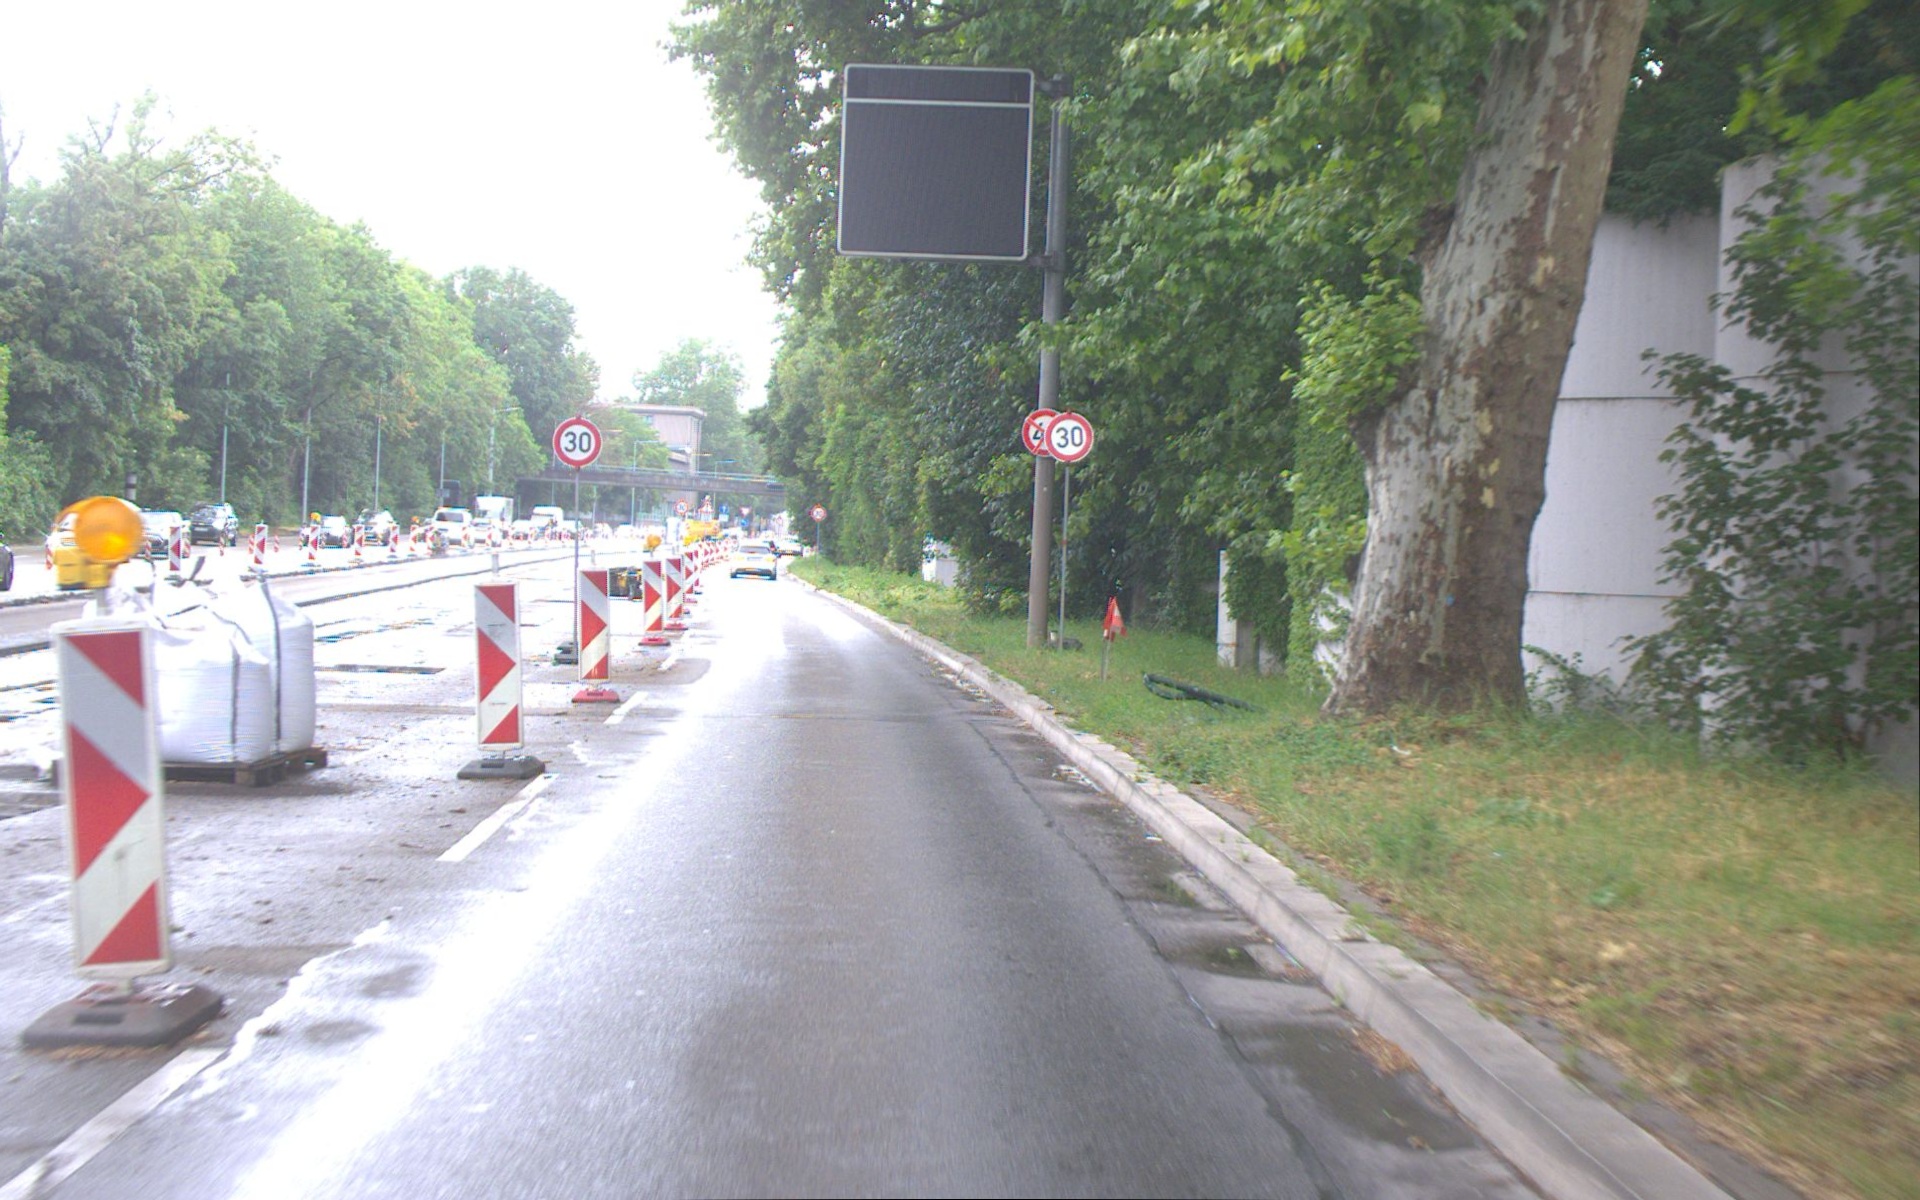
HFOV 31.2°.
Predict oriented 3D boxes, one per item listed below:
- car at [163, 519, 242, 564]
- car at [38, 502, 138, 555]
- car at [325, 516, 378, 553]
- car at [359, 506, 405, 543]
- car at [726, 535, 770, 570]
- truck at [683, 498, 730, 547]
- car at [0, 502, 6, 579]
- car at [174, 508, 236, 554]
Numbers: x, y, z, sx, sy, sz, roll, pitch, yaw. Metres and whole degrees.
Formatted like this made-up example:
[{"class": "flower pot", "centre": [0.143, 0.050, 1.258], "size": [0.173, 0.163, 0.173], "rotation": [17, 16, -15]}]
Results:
[{"class": "car", "centre": [-23.861, -1.858, 108.383], "size": [1.817, 1.351, 4.205], "rotation": [1, 1, -4]}, {"class": "car", "centre": [-23.260, -1.909, 91.811], "size": [1.817, 1.351, 4.391], "rotation": [1, 1, -4]}, {"class": "car", "centre": [-26.420, -2.855, 149.345], "size": [1.760, 1.478, 4.901], "rotation": [2, 1, -5]}, {"class": "car", "centre": [-28.378, -3.683, 168.808], "size": [1.734, 1.716, 4.495], "rotation": [3, 1, -4]}, {"class": "car", "centre": [-8.296, -1.879, 134.681], "size": [1.697, 1.331, 3.491], "rotation": [0, 1, -4]}, {"class": "truck", "centre": [-19.192, -5.888, 260.905], "size": [3.259, 3.485, 13.873], "rotation": [3, 1, -4]}, {"class": "car", "centre": [-18.161, -1.079, 60.886], "size": [1.607, 1.399, 4.042], "rotation": [3, 1, -4]}, {"class": "car", "centre": [-29.399, -2.713, 133.977], "size": [1.653, 1.679, 4.534], "rotation": [3, 1, -4]}]
